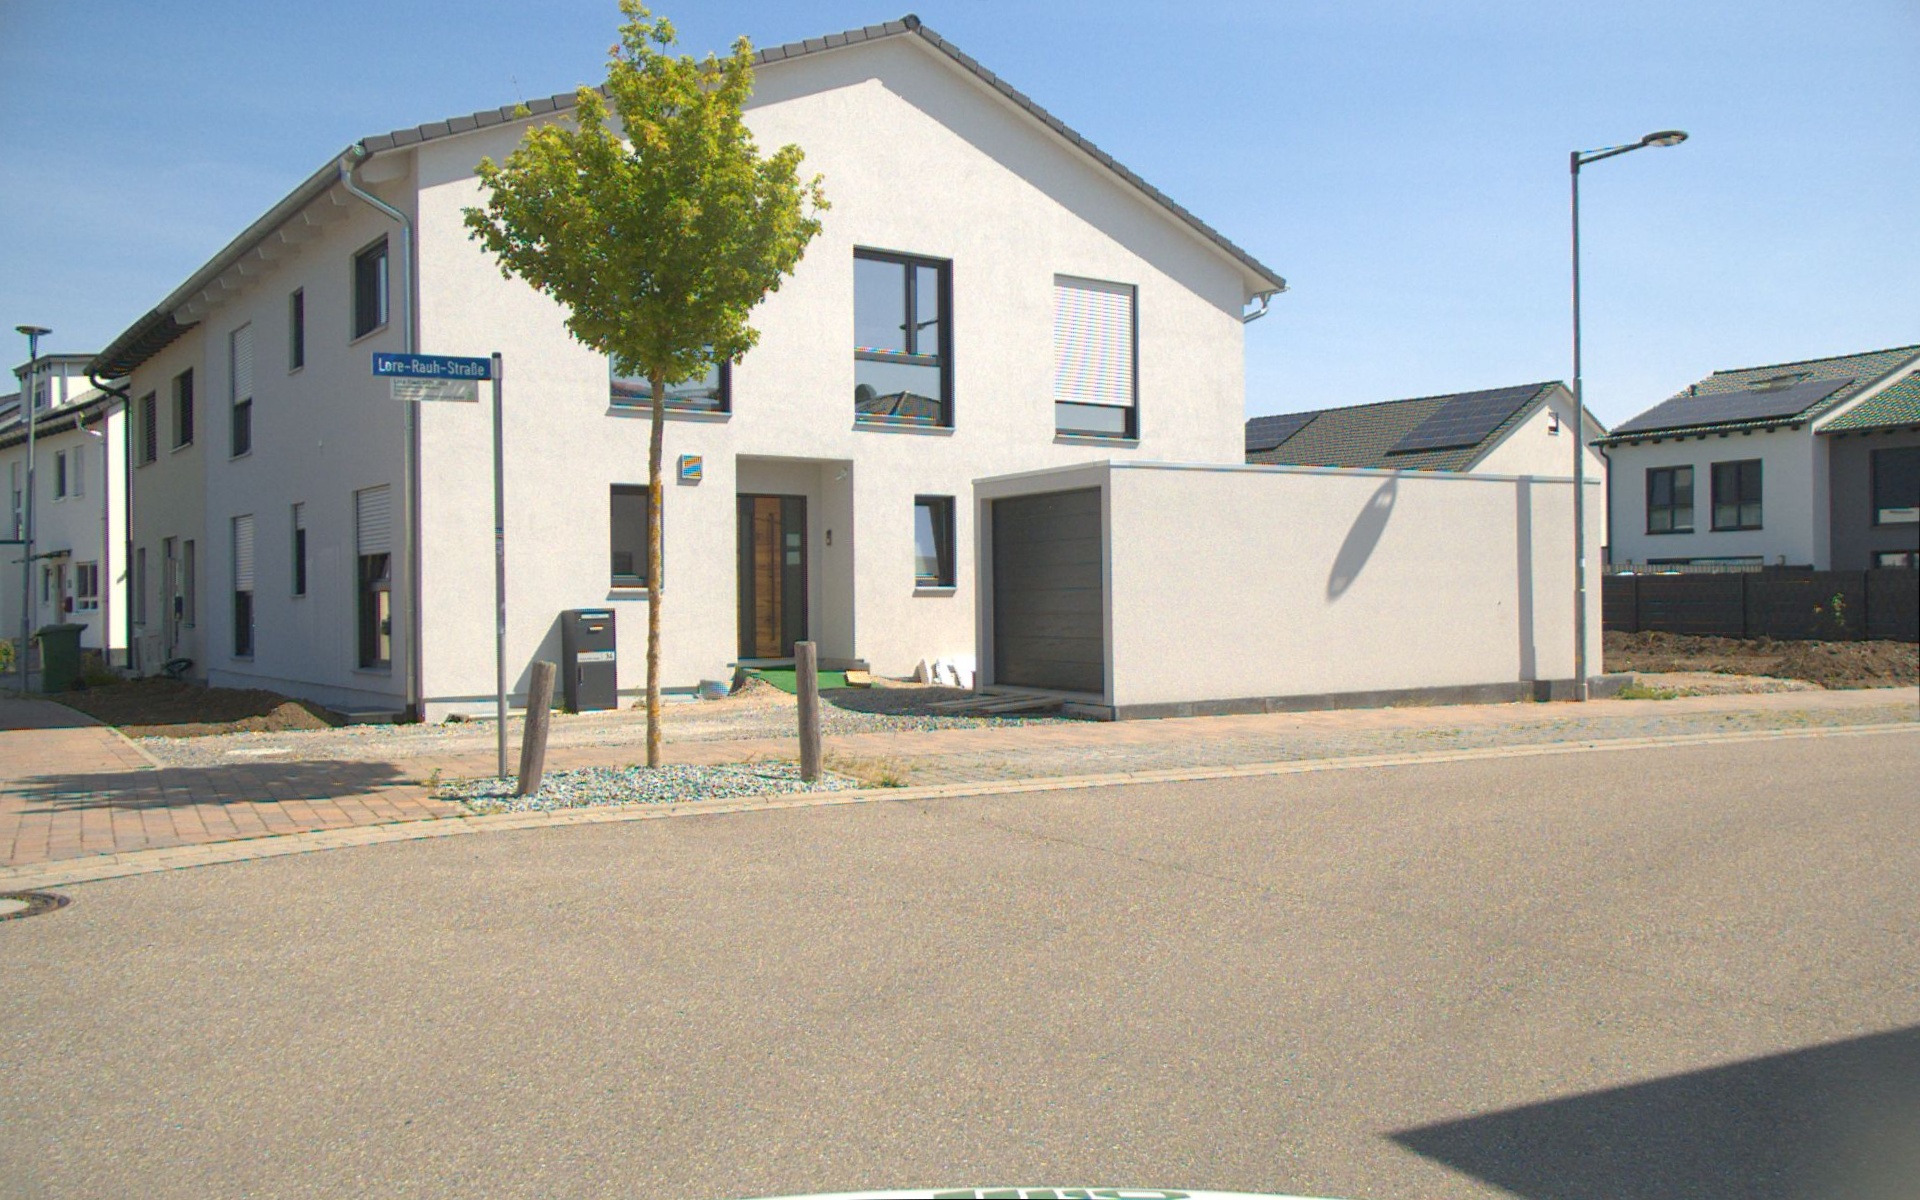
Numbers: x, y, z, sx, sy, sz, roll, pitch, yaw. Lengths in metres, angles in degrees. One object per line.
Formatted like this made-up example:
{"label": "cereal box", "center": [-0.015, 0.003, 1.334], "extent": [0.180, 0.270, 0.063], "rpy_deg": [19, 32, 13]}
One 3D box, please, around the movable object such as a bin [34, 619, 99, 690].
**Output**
{"label": "movable object such as a bin", "center": [-14.291, 0.860, 26.446], "extent": [0.778, 1.068, 0.794], "rpy_deg": [-3, 2, -37]}

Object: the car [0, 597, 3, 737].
{"label": "car", "center": [-11.326, 0.661, 17.604], "extent": [1.712, 1.447, 3.953], "rpy_deg": [-1, 0, -34]}
